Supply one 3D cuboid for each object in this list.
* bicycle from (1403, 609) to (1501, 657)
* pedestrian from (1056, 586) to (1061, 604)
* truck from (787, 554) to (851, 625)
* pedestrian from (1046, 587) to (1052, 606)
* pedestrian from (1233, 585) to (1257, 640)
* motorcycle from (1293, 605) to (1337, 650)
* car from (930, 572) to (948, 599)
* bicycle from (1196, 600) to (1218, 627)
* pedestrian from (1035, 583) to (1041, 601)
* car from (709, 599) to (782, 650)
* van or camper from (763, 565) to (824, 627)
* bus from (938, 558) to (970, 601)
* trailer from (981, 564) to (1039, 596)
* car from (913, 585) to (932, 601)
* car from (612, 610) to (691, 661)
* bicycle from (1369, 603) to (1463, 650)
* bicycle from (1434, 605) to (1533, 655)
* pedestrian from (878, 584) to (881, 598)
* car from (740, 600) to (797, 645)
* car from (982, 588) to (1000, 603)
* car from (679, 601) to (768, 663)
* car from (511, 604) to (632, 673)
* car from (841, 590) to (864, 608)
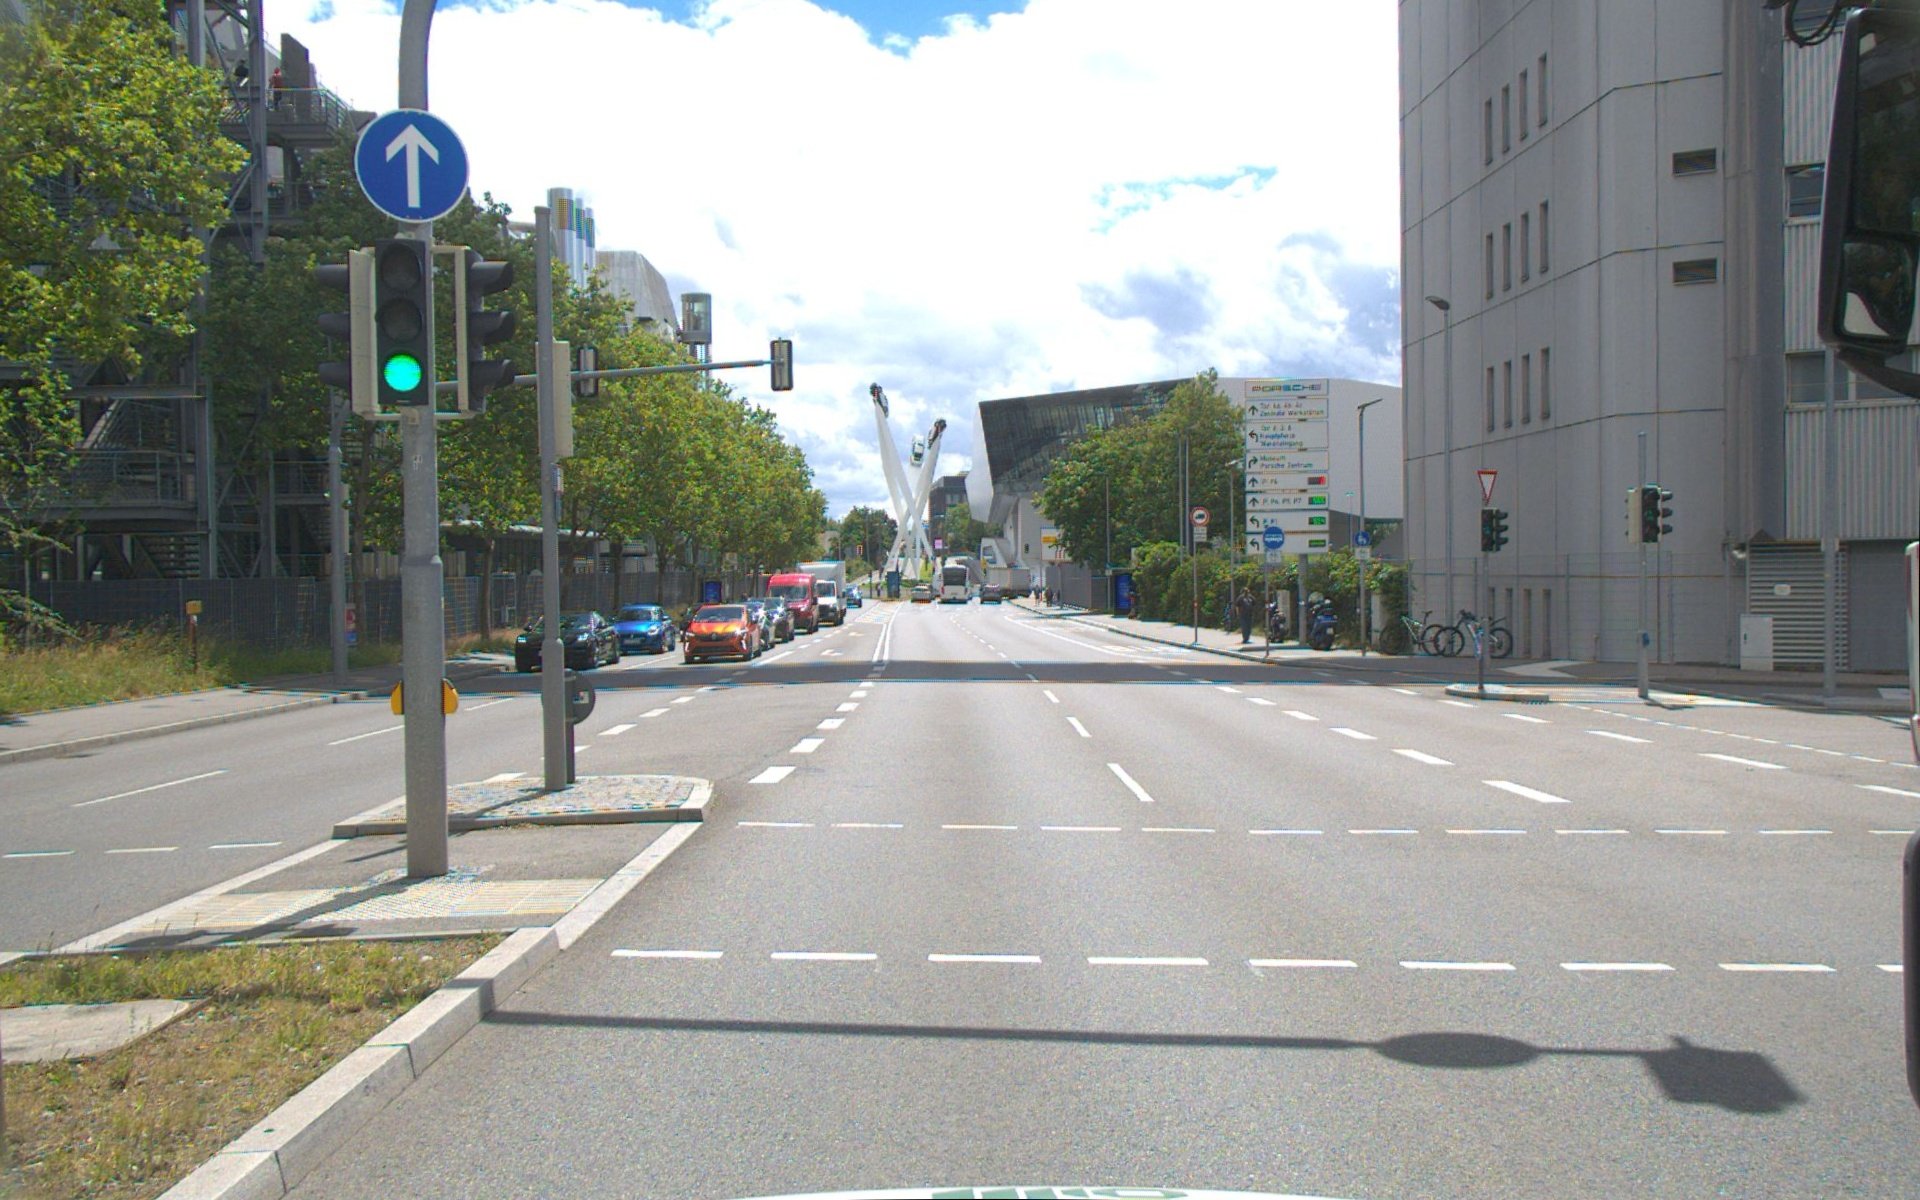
[{"bbox_3d":[11.661,0.771,39.229,2.180,1.106,0.475,1,-1,35],"label":"bicycle"},{"bbox_3d":[7.806,-0.395,130.899,0.378,1.446,0.423,1,-1,0],"label":"pedestrian"},{"bbox_3d":[-6.968,-0.472,82.425,2.538,3.382,7.078,1,-1,0],"label":"truck"},{"bbox_3d":[6.812,-0.240,126.560,0.378,1.446,0.423,1,-1,0],"label":"pedestrian"},{"bbox_3d":[8.726,0.379,50.647,0.523,1.669,0.657,1,-1,-6],"label":"pedestrian"},{"bbox_3d":[9.573,0.722,44.684,0.410,1.186,1.951,1,-1,-11],"label":"motorcycle"},{"bbox_3d":[-2.195,-1.502,174.501,1.806,2.669,4.000,1,-1,1],"label":"car"},{"bbox_3d":[9.706,0.528,64.932,0.410,1.040,1.910,1,-1,-5],"label":"bicycle"},{"bbox_3d":[6.165,-0.622,130.505,0.378,1.446,0.423,1,-1,0],"label":"pedestrian"},{"bbox_3d":[-6.587,0.730,51.175,1.733,1.445,3.701,-2,0,0],"label":"car"},{"bbox_3d":[-7.018,-0.181,70.214,2.005,2.510,5.594,0,0,0],"label":"van or camper"},{"bbox_3d":[-0.552,-1.821,149.529,2.730,3.750,6.942,1,-1,0],"label":"bus"},{"bbox_3d":[5.279,-1.995,172.408,3.250,3.047,10.380,1,-1,18],"label":"trailer"},{"bbox_3d":[-3.316,-0.610,147.834,1.525,1.295,3.701,-2,0,1],"label":"car"},{"bbox_3d":[-9.518,1.066,51.238,1.692,1.406,3.701,-2,0,0],"label":"car"},{"bbox_3d":[11.176,0.636,40.555,2.180,1.106,0.475,1,-1,35],"label":"bicycle"},{"bbox_3d":[12.101,0.686,38.262,2.149,1.106,0.475,1,-1,35],"label":"bicycle"},{"bbox_3d":[-8.714,-0.967,179.098,0.378,1.446,0.423,1,-1,0],"label":"pedestrian"},{"bbox_3d":[-6.755,0.779,58.673,1.525,1.473,3.772,-2,0,0],"label":"car"},{"bbox_3d":[2.747,-0.415,145.969,1.525,1.295,3.701,-2,0,1],"label":"car"},{"bbox_3d":[-6.128,0.800,43.169,1.733,1.445,3.701,-2,0,0],"label":"car"},{"bbox_3d":[-9.717,0.918,41.716,1.878,1.514,4.771,-2,0,0],"label":"car"},{"bbox_3d":[-8.486,-0.101,130.535,1.525,1.295,3.701,-2,0,0],"label":"car"}]
